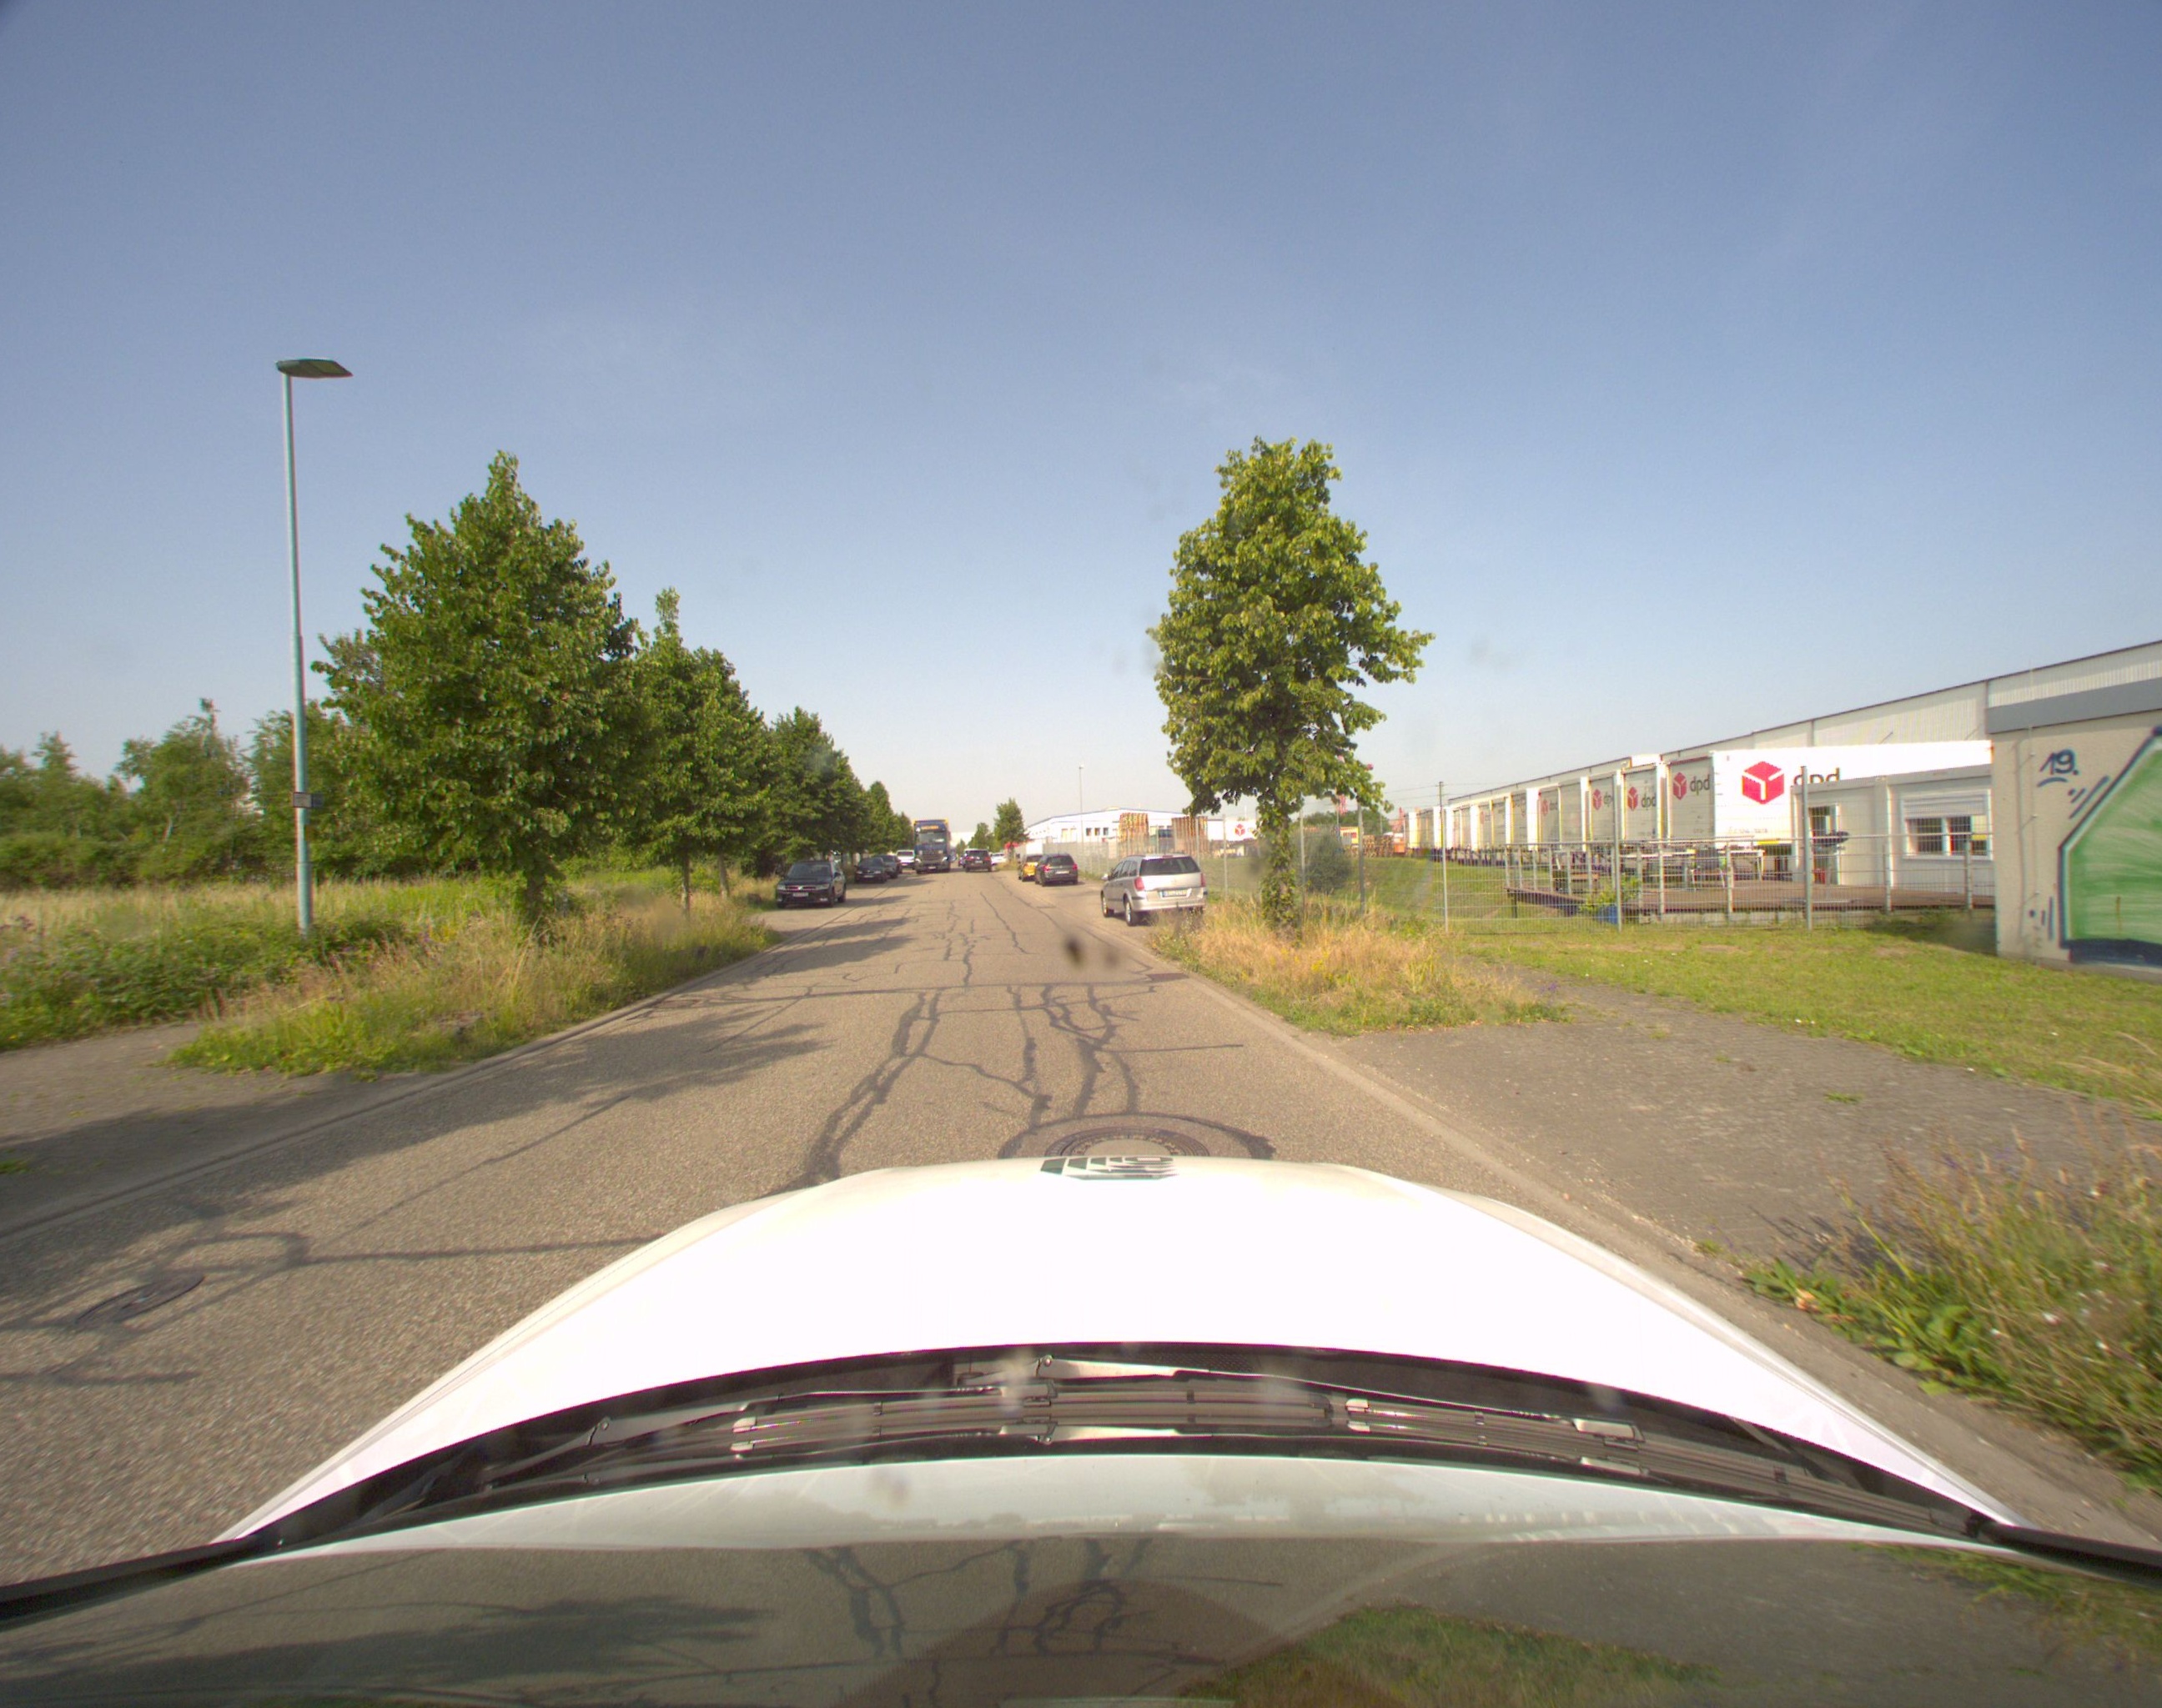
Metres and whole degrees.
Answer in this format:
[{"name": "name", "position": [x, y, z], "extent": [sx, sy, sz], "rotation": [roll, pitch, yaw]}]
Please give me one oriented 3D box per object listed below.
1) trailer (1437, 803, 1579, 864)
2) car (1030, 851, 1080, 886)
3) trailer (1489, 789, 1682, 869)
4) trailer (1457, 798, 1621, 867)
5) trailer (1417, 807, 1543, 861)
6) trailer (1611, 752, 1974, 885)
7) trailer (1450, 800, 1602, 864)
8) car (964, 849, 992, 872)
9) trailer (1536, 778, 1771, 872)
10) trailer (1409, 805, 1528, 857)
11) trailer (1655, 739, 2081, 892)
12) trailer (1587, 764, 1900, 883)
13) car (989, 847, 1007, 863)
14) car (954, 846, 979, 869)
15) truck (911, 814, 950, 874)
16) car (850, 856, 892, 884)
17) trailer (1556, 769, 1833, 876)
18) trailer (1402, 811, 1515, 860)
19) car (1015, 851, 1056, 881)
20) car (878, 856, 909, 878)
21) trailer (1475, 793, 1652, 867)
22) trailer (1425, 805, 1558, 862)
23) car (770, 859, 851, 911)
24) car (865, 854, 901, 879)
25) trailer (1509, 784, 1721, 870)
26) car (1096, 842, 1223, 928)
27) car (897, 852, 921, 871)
[{"name": "trailer", "position": [28.340, -1.371, 54.416], "extent": [7.913, 3.893, 2.784], "rotation": [0, 1, 10]}, {"name": "car", "position": [-1.285, 0.651, 38.853], "extent": [1.715, 1.515, 3.989], "rotation": [-3, 1, -10]}, {"name": "trailer", "position": [25.529, -1.281, 41.595], "extent": [7.913, 3.893, 2.784], "rotation": [0, 1, 10]}, {"name": "trailer", "position": [26.640, -1.256, 47.763], "extent": [7.913, 3.893, 2.784], "rotation": [0, 1, 10]}, {"name": "trailer", "position": [29.424, -1.514, 60.425], "extent": [7.913, 3.893, 2.784], "rotation": [0, 1, 10]}, {"name": "trailer", "position": [22.129, -1.101, 25.870], "extent": [8.483, 3.893, 2.784], "rotation": [0, 1, 10]}, {"name": "trailer", "position": [27.897, -1.384, 51.372], "extent": [7.913, 3.893, 2.784], "rotation": [0, 1, 10]}, {"name": "car", "position": [-7.548, 0.490, 59.882], "extent": [1.878, 1.586, 4.105], "rotation": [-2, 0, -6]}, {"name": "trailer", "position": [24.731, -1.260, 35.624], "extent": [7.984, 3.893, 2.784], "rotation": [0, 1, 10]}, {"name": "trailer", "position": [30.009, -1.787, 63.312], "extent": [7.913, 3.893, 2.751], "rotation": [0, 1, 10]}, {"name": "trailer", "position": [21.507, -1.029, 22.817], "extent": [8.483, 3.893, 2.784], "rotation": [0, 1, 10]}, {"name": "trailer", "position": [23.005, -1.054, 28.777], "extent": [8.256, 3.893, 2.784], "rotation": [0, 1, 10]}, {"name": "car", "position": [-9.118, 0.092, 89.465], "extent": [1.715, 1.680, 3.937], "rotation": [-1, 0, -9]}, {"name": "car", "position": [-11.292, 0.350, 80.325], "extent": [2.118, 2.110, 4.616], "rotation": [-2, 0, -5]}, {"name": "truck", "position": [-11.659, -0.731, 63.829], "extent": [2.498, 4.145, 10.347], "rotation": [-3, 1, -9]}, {"name": "car", "position": [-11.976, 0.893, 46.586], "extent": [1.832, 1.496, 4.039], "rotation": [0, 0, -8]}, {"name": "trailer", "position": [23.589, -1.210, 31.792], "extent": [8.256, 3.893, 2.784], "rotation": [0, 1, 10]}, {"name": "trailer", "position": [30.574, -1.504, 66.241], "extent": [7.913, 3.893, 2.751], "rotation": [0, 1, 10]}, {"name": "car", "position": [-2.554, 0.617, 44.458], "extent": [1.715, 1.455, 4.173], "rotation": [-3, 1, -9]}, {"name": "car", "position": [-13.523, 0.934, 58.964], "extent": [1.832, 1.496, 4.039], "rotation": [0, 0, -8]}, {"name": "trailer", "position": [26.279, -1.314, 44.733], "extent": [7.913, 3.893, 2.784], "rotation": [0, 1, 10]}, {"name": "trailer", "position": [28.750, -1.443, 57.428], "extent": [7.913, 3.893, 2.784], "rotation": [0, 1, 10]}, {"name": "car", "position": [-9.476, 1.020, 28.853], "extent": [1.901, 1.626, 4.437], "rotation": [0, 0, -8]}, {"name": "car", "position": [-12.703, 0.788, 52.530], "extent": [1.832, 1.496, 4.039], "rotation": [0, 0, -8]}, {"name": "trailer", "position": [25.051, -1.272, 38.605], "extent": [7.913, 3.893, 2.784], "rotation": [0, 1, 10]}, {"name": "car", "position": [1.638, 0.623, 18.739], "extent": [1.798, 1.626, 4.436], "rotation": [-3, 1, -9]}, {"name": "car", "position": [-15.969, 0.683, 75.639], "extent": [1.832, 1.762, 4.039], "rotation": [0, 0, -8]}]
